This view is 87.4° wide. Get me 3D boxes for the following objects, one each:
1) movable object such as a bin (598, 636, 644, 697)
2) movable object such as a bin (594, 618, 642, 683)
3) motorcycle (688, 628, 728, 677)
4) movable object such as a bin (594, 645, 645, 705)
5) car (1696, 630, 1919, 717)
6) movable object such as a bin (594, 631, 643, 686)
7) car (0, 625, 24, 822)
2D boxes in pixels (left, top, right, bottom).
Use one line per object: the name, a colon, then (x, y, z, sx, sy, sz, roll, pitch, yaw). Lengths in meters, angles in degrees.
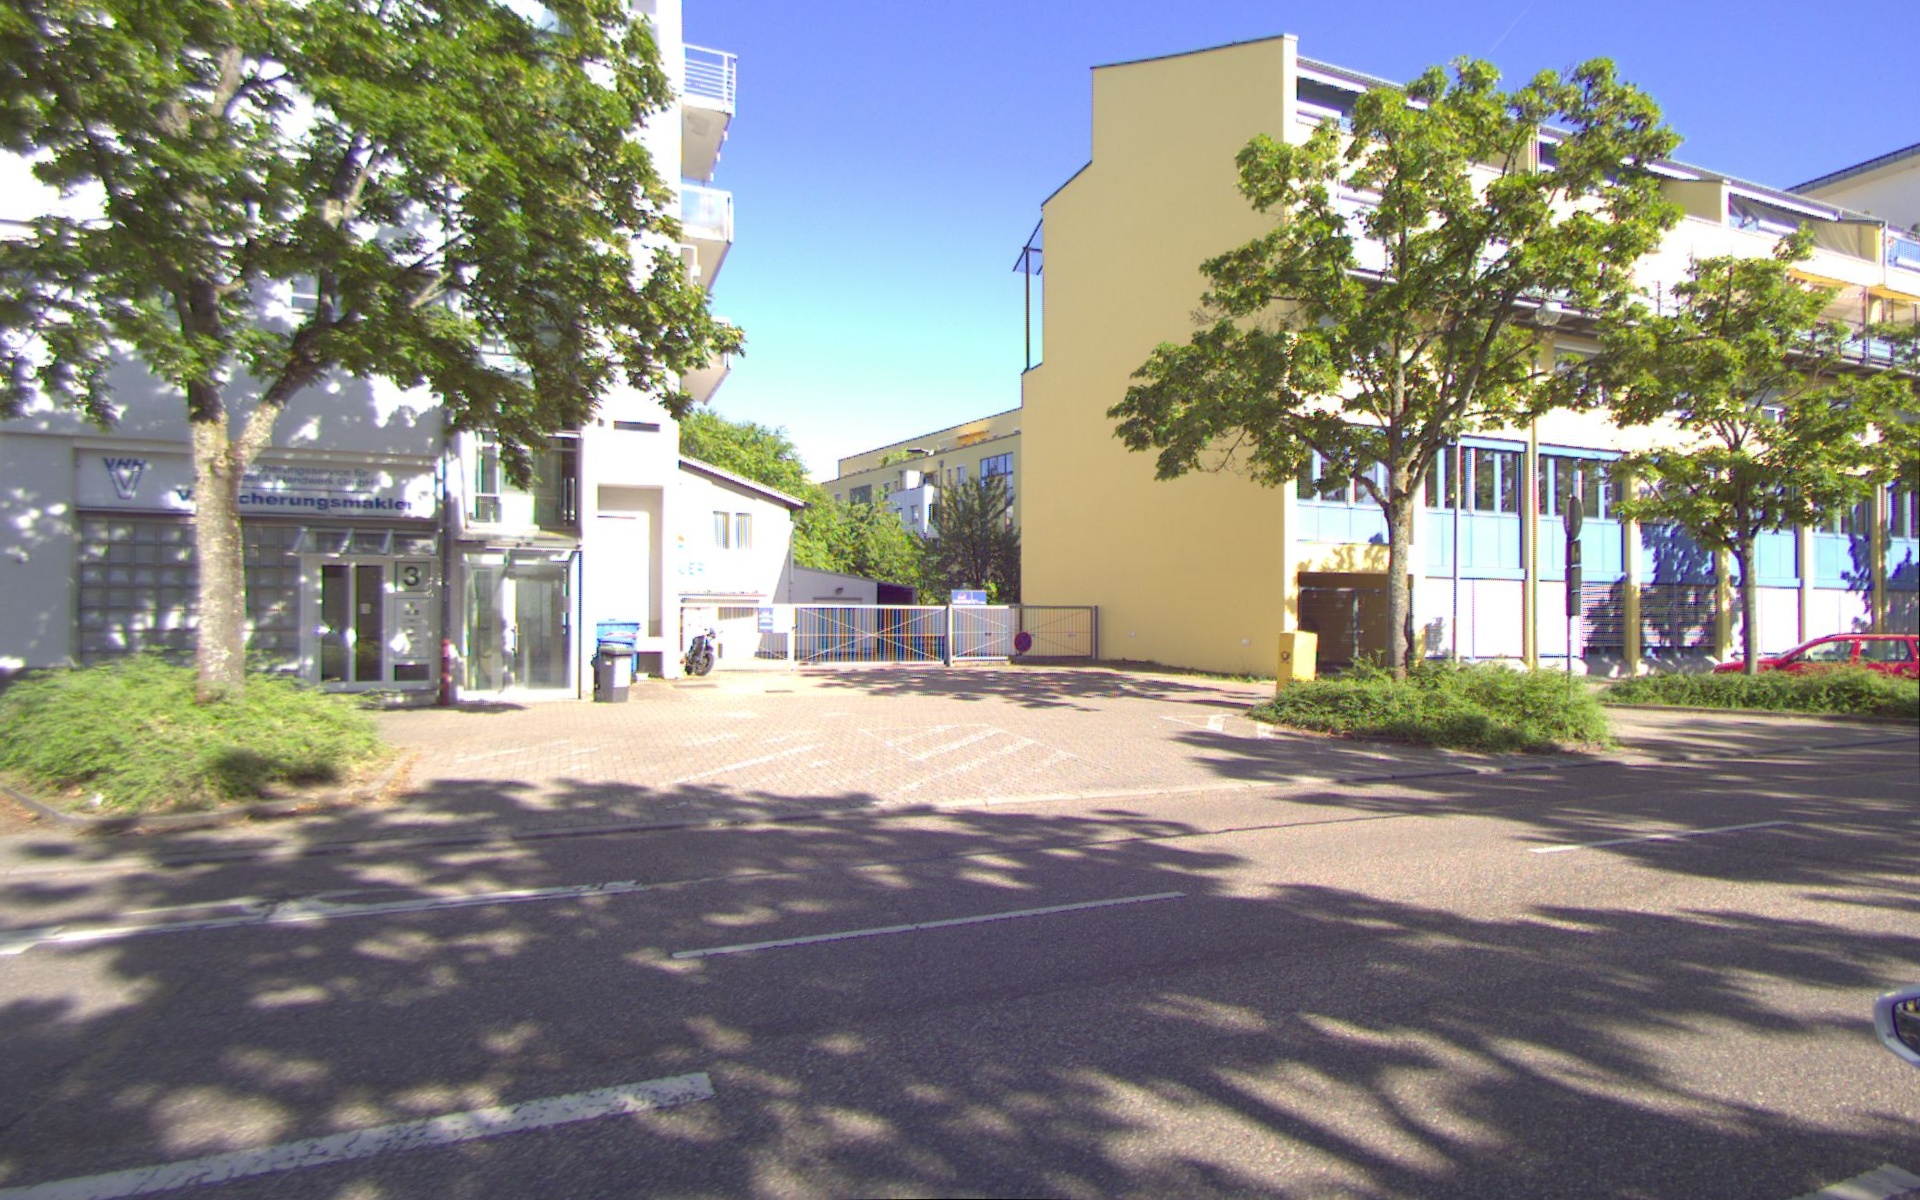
movable object such as a bin: (-6.114, 1.191, 18.114, 0.706, 1.068, 0.464, 1, 0, -32)
movable object such as a bin: (-7.111, 1.041, 20.891, 0.840, 1.336, 0.464, 1, 0, -32)
motorcycle: (-6.200, 1.261, 24.820, 0.898, 1.142, 2.936, 0, -2, -14)
movable object such as a bin: (-5.676, 1.242, 16.751, 0.706, 0.962, 0.464, 1, 0, -32)
car: (17.219, 1.382, 19.654, 4.359, 1.573, 1.911, -2, -2, 43)
movable object such as a bin: (-6.886, 1.164, 20.248, 0.840, 1.082, 0.464, 1, 0, -32)
car: (-9.508, 0.953, 8.331, 3.823, 1.530, 1.822, 0, -1, 36)
